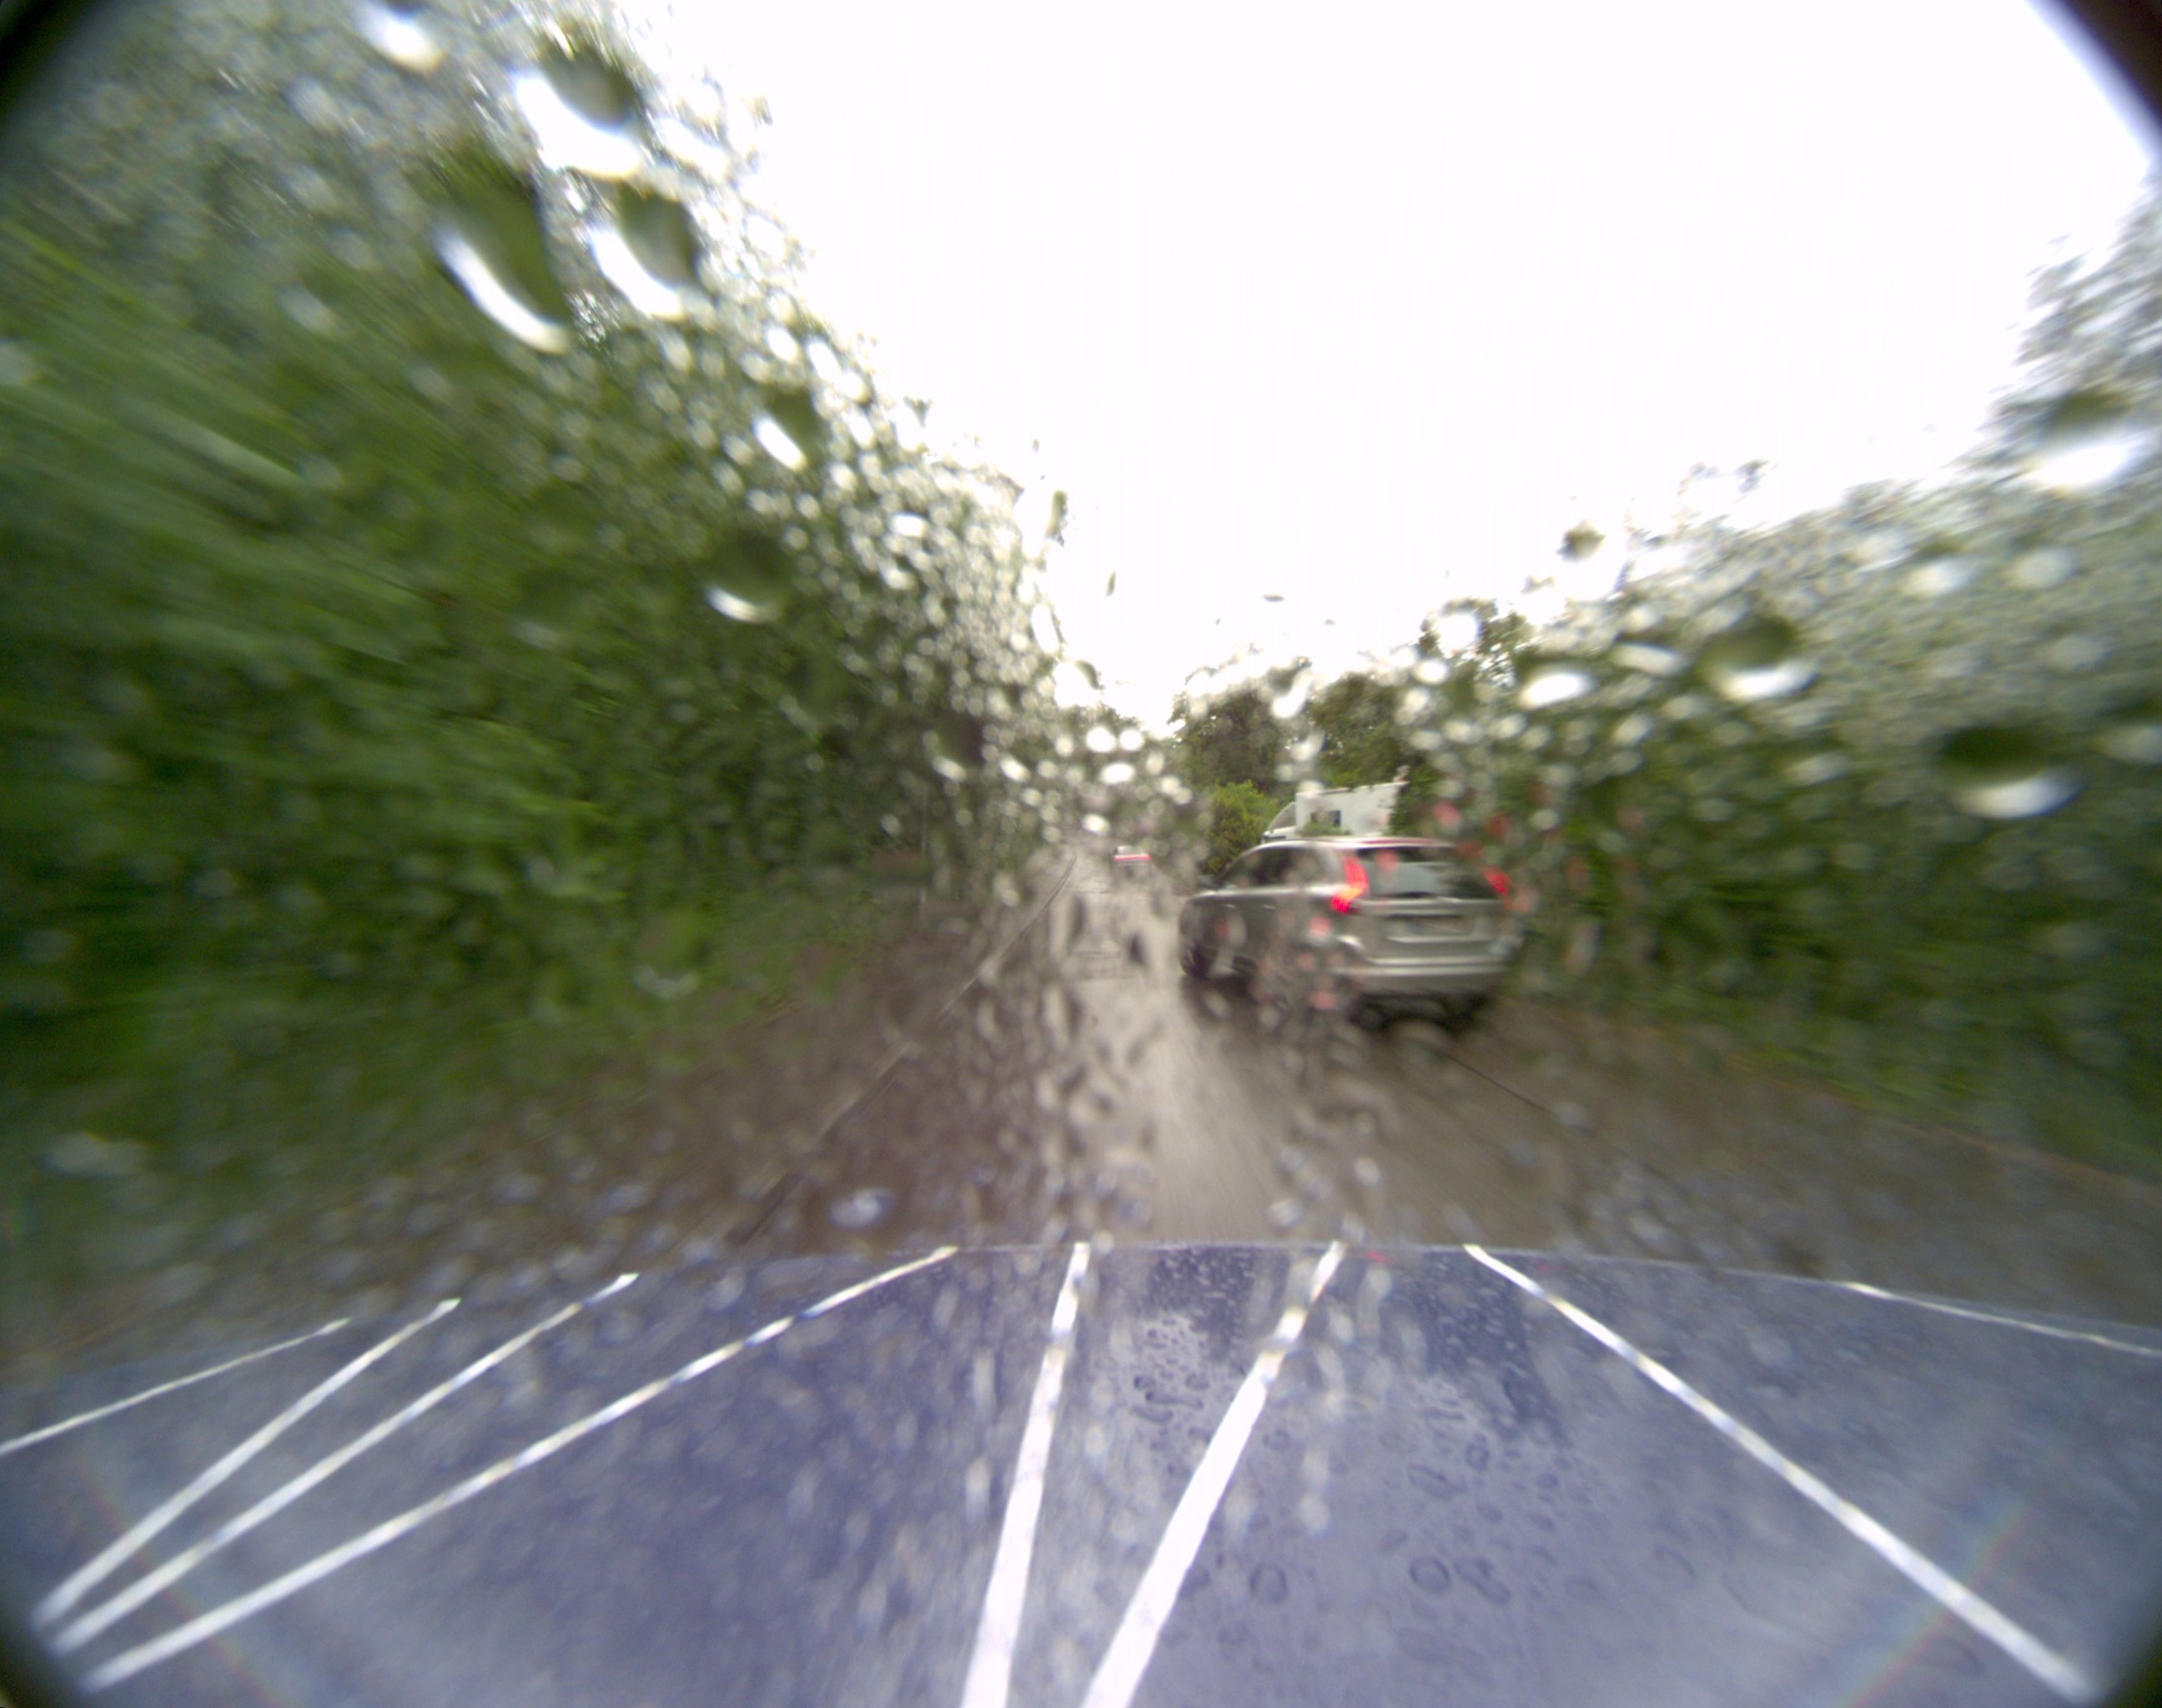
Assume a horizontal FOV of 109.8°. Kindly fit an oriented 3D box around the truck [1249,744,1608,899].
[{"bbox_3d":[9.704,-0.718,22.448,2.773,3.694,9.226,-2,1,-43],"label":"truck"}]

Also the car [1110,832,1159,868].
[{"bbox_3d":[2.633,-0.269,38.442,1.960,1.608,4.677,-1,2,-2],"label":"car"}]

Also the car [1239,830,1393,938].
[{"bbox_3d":[4.254,0.480,14.419,1.689,1.717,4.068,2,0,2],"label":"car"}]

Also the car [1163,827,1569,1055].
[{"bbox_3d":[2.402,0.649,7.845,1.929,1.611,4.459,-1,0,-9],"label":"car"}]
